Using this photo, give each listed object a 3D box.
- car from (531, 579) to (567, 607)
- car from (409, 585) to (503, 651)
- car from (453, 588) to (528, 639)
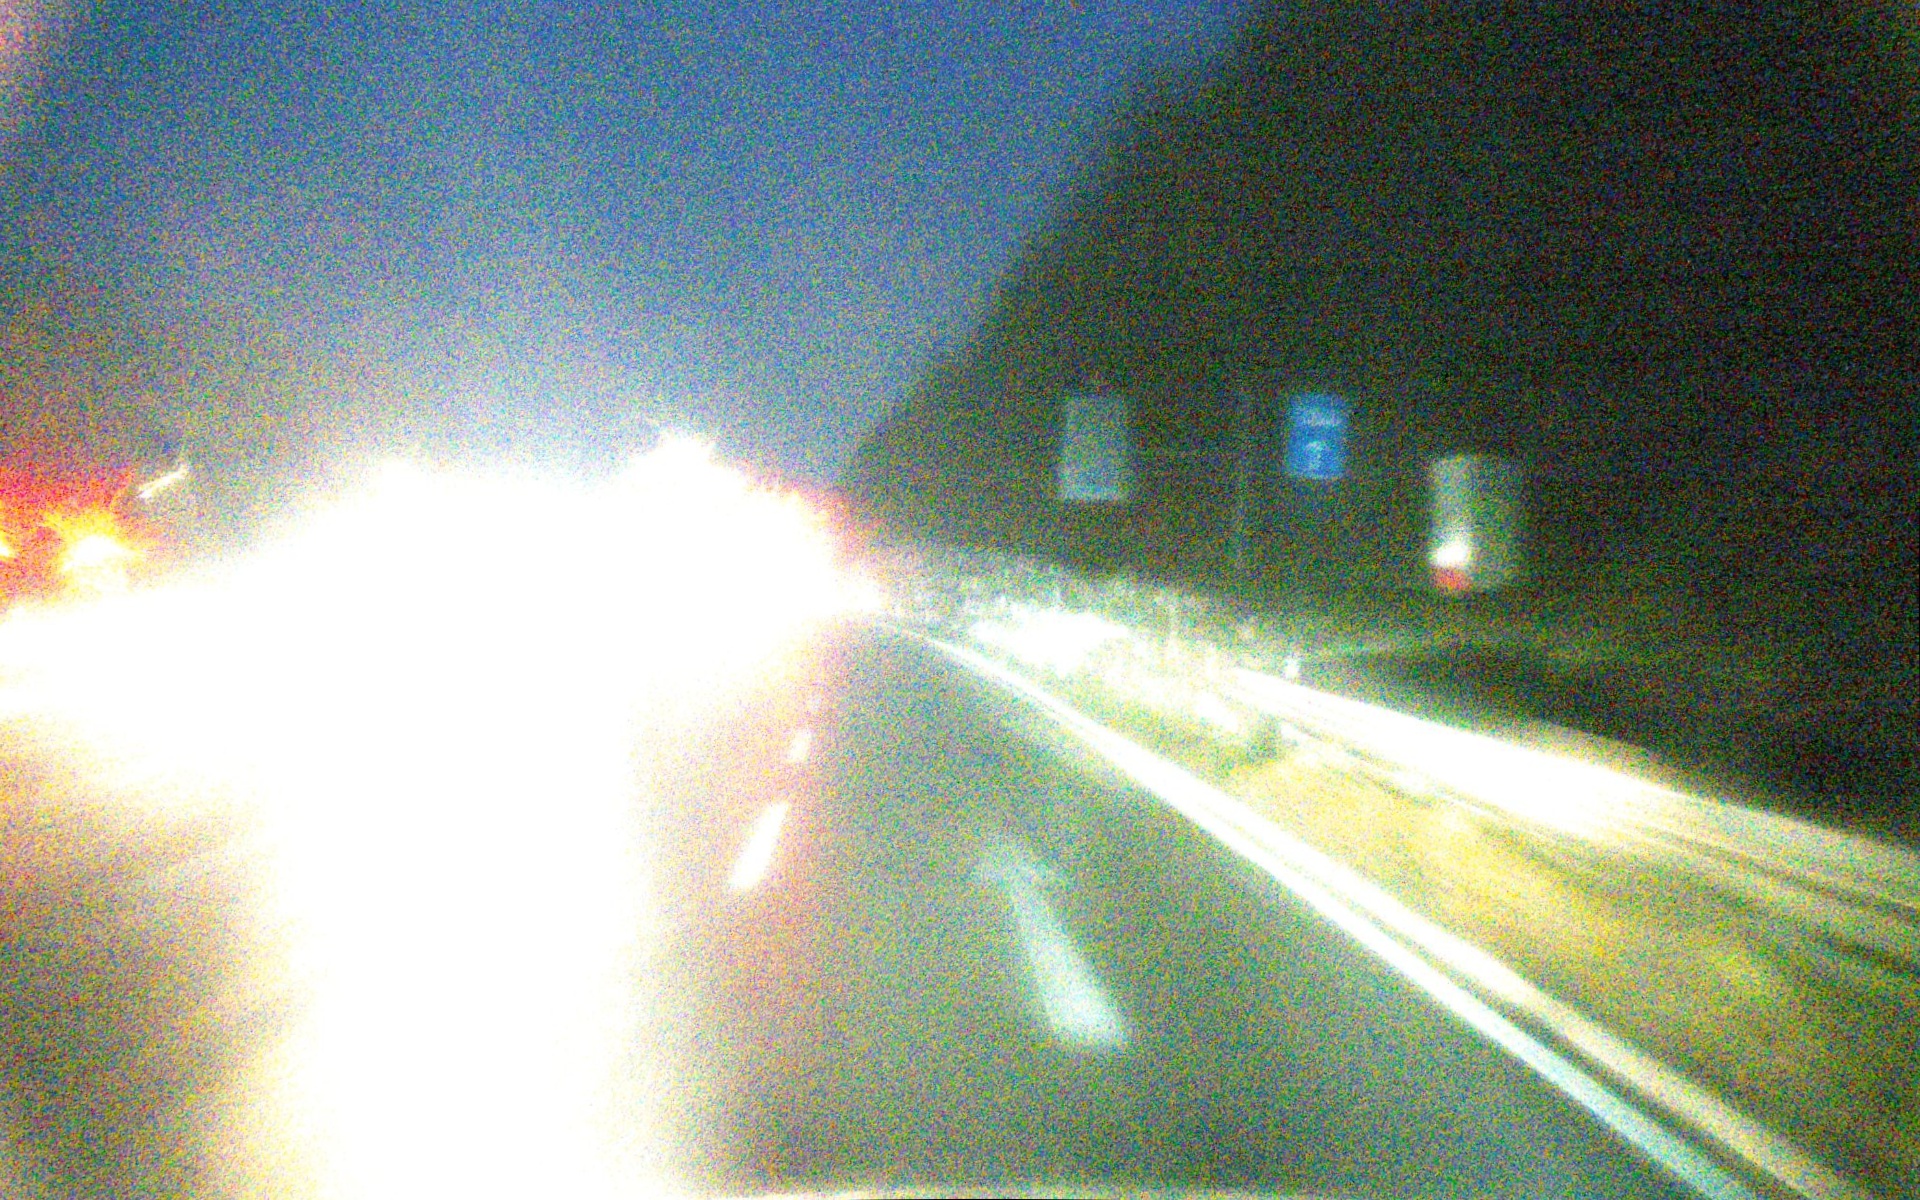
[{"bbox_3d":[-22.593,-0.407,91.035,1.801,1.467,4.476,1,0,-13],"label":"car"},{"bbox_3d":[-13.292,0.446,43.821,1.847,1.628,3.891,1,0,-10],"label":"car"},{"bbox_3d":[-17.358,0.475,61.336,2.158,1.776,4.514,1,0,-10],"label":"car"}]
